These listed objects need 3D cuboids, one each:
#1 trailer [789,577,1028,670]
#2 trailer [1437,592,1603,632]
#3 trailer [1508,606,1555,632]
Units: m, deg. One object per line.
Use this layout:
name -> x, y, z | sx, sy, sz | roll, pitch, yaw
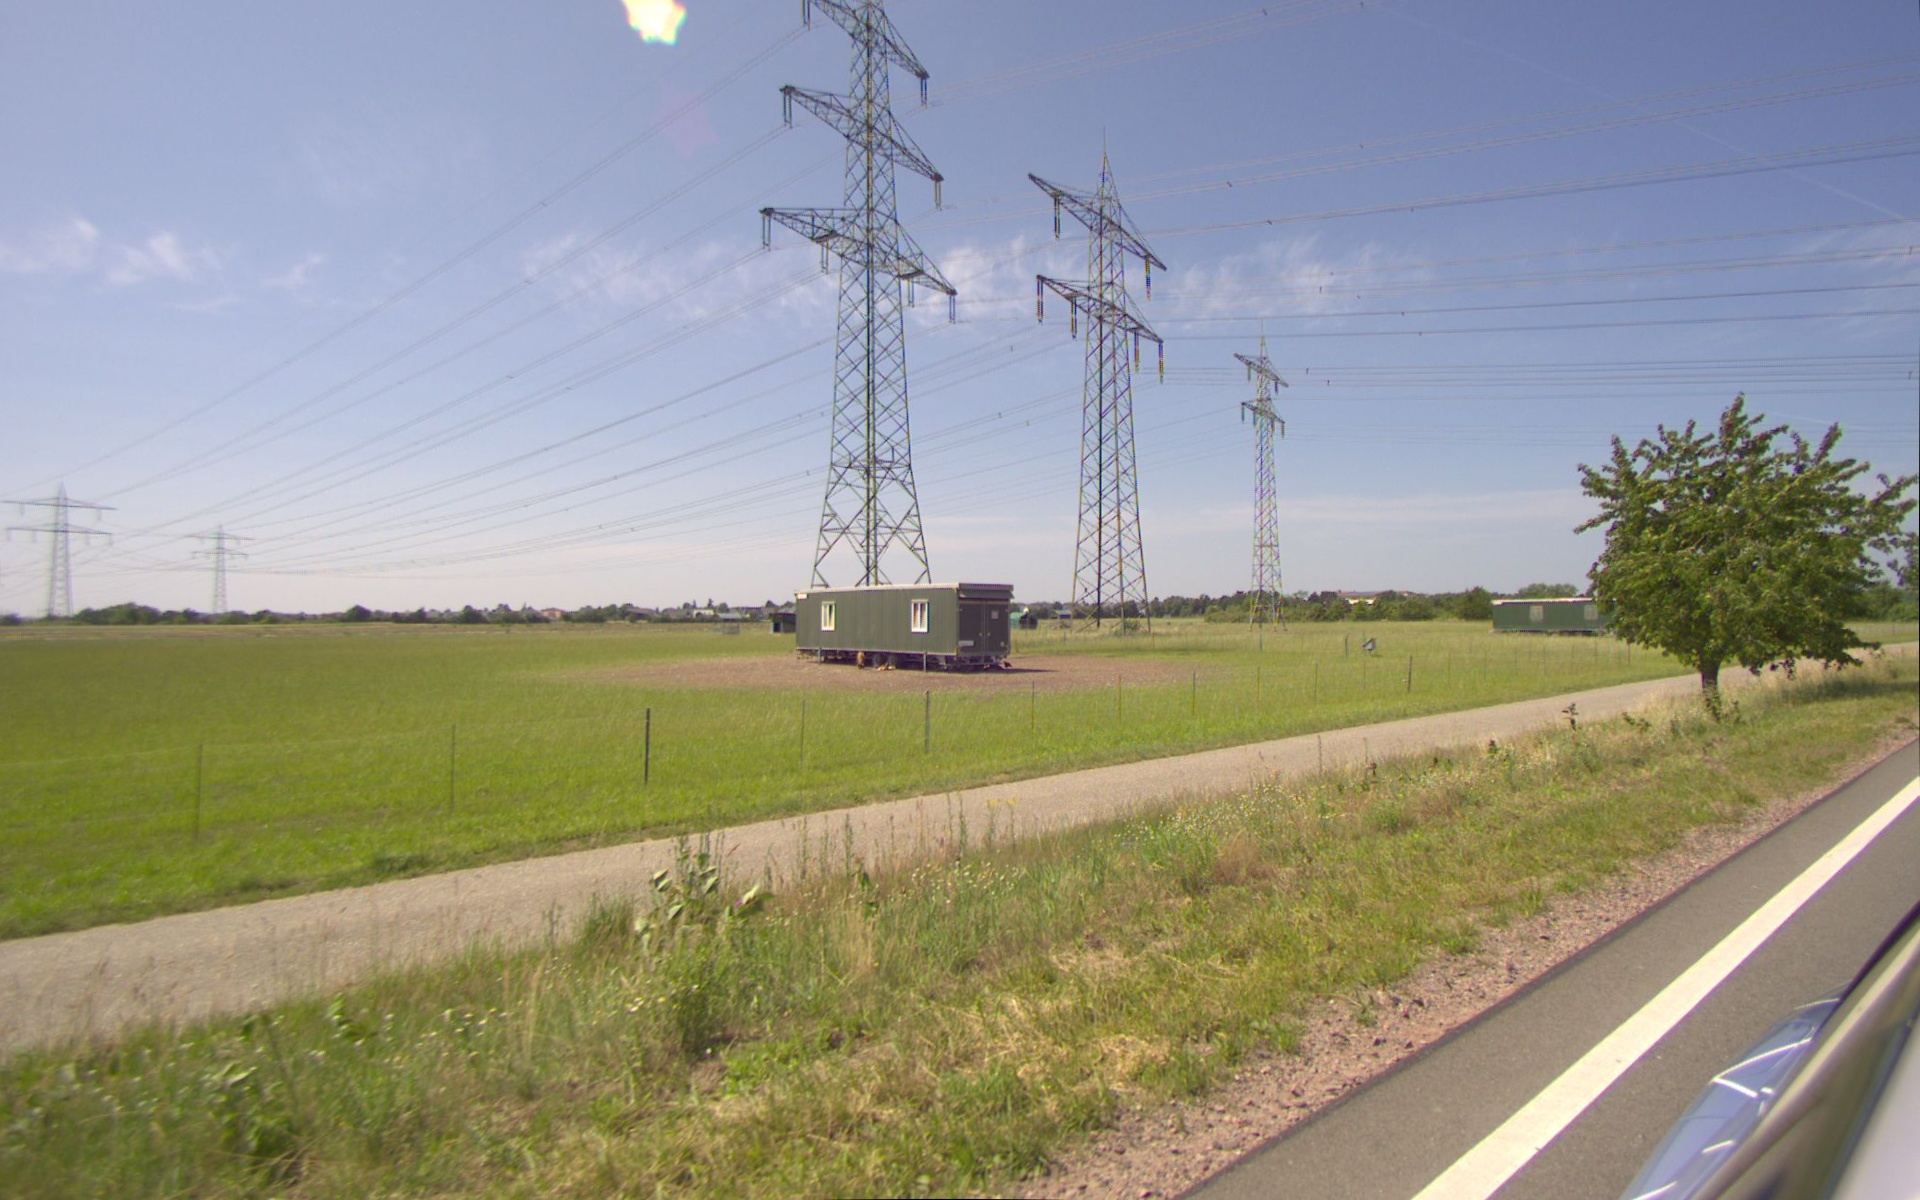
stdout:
trailer -> -2.700, 0.992, 44.386 | 3.738, 3.517, 12.432 | 0, -1, -40
trailer -> 52.670, 1.191, 95.841 | 3.217, 3.520, 13.538 | 0, -1, -39
trailer -> 54.978, 1.822, 97.376 | 2.001, 2.494, 3.414 | 0, -1, -39
